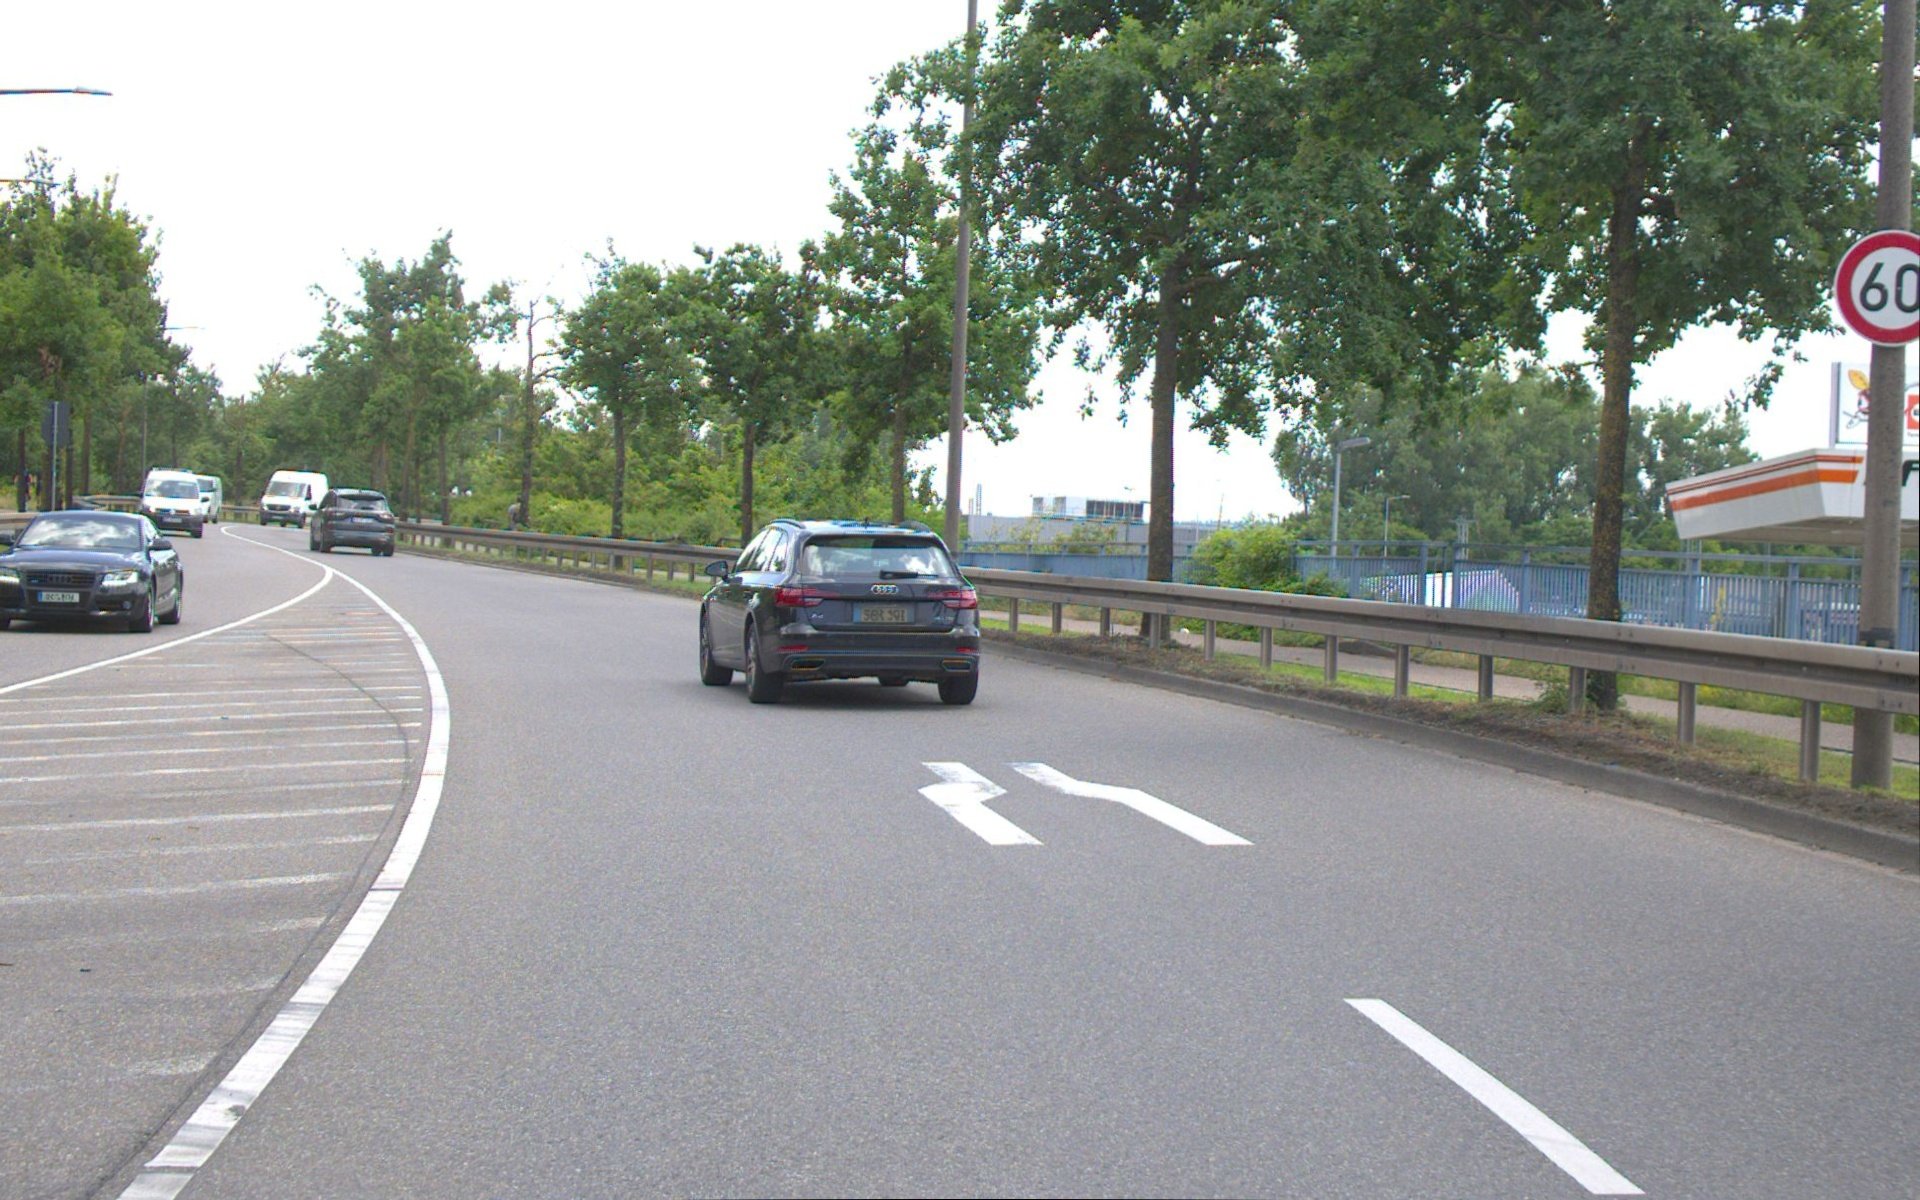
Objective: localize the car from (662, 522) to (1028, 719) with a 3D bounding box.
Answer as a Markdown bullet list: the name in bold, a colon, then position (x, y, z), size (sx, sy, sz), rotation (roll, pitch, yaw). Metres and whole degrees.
- **car**: position (-1.051, 0.112, 28.214), size (1.993, 1.386, 4.577), rotation (3, 0, -14)

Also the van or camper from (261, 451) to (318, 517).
- **van or camper**: position (-30.521, -5.238, 156.409), size (1.993, 2.741, 5.387), rotation (4, 0, -15)

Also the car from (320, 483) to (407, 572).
- **car**: position (-15.277, -1.828, 88.202), size (1.993, 2.030, 4.713), rotation (2, -1, -8)

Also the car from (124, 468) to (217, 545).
- **car**: position (-22.199, -2.660, 96.852), size (1.993, 2.006, 4.560), rotation (3, 2, -7)

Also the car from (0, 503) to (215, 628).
- **car**: position (-10.026, -0.414, 39.826), size (1.903, 1.359, 4.576), rotation (0, 1, -1)
